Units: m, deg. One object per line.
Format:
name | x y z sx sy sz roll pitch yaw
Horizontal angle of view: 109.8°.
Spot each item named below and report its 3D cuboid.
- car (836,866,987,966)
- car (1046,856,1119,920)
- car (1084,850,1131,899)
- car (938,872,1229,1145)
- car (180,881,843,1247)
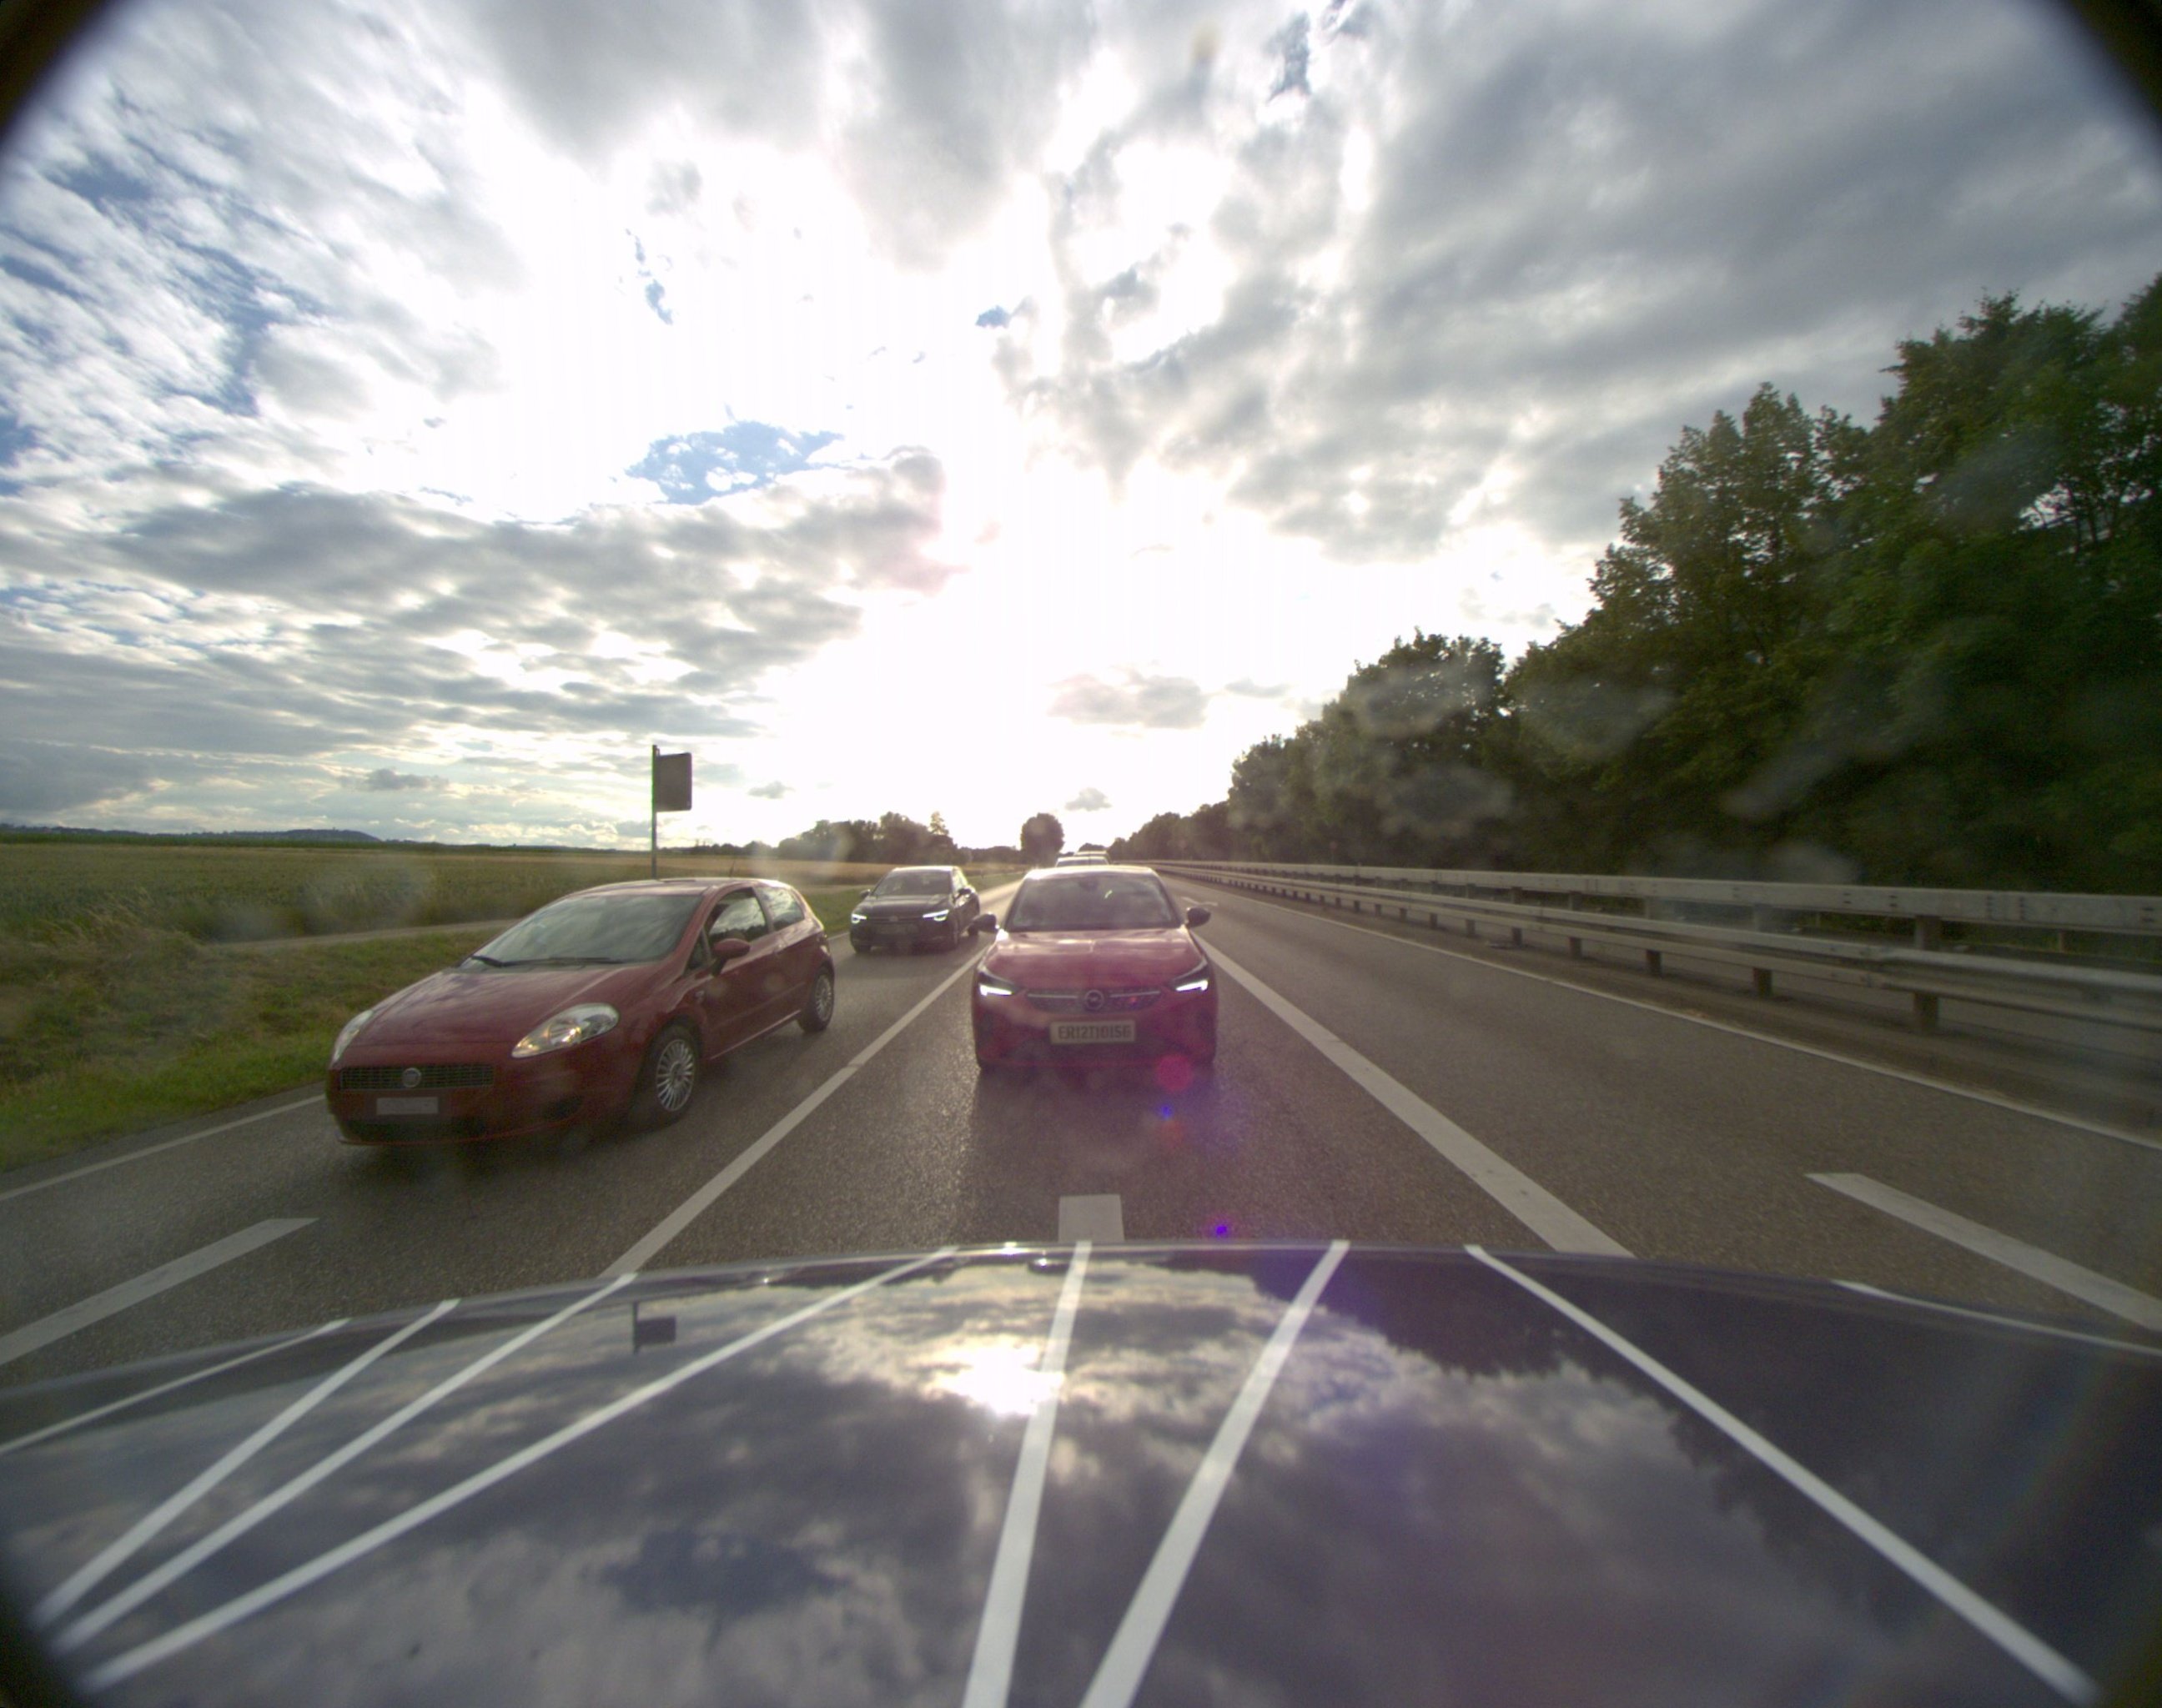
car | -2.961 1.027 14.197 1.799 1.448 4.032 -2 1 1
car | 0.061 0.830 20.553 1.712 1.448 4.061 -2 1 1
car | 1.011 0.753 30.208 1.671 1.730 4.032 -2 1 1
car | 0.044 0.994 6.649 1.712 1.448 4.061 -2 1 1
car | -3.245 1.046 5.467 1.712 1.448 3.908 -2 1 1
